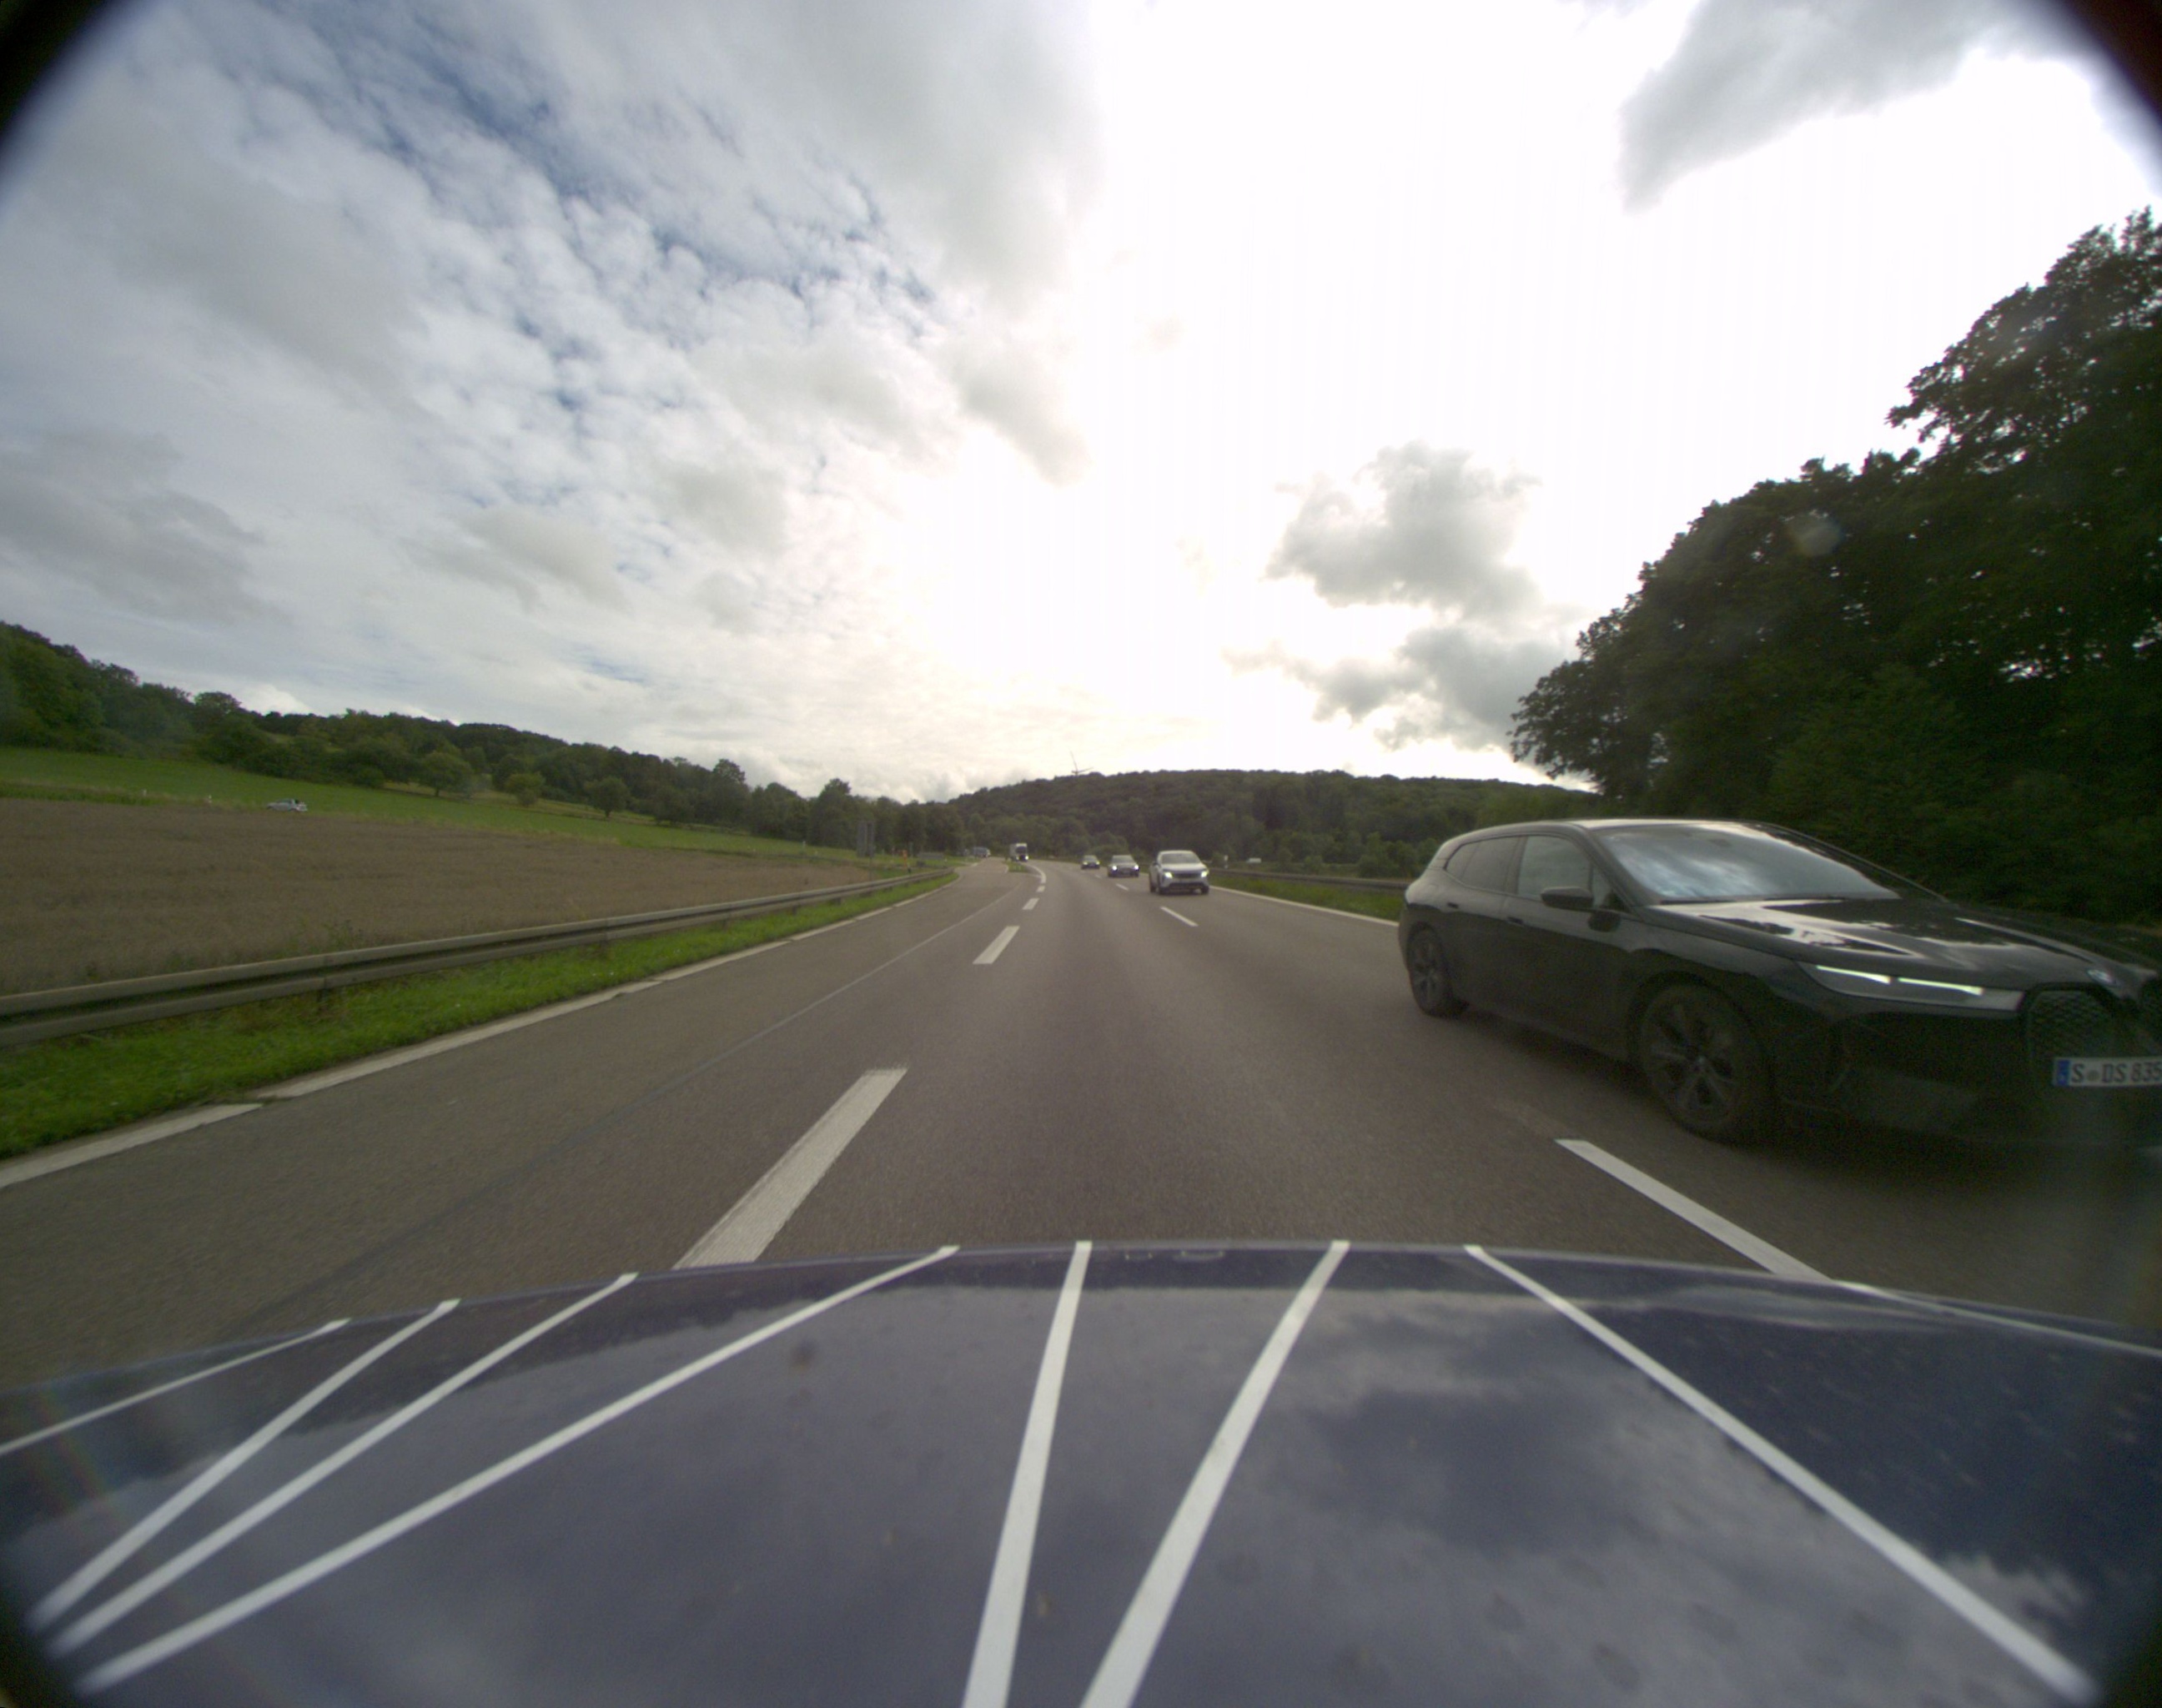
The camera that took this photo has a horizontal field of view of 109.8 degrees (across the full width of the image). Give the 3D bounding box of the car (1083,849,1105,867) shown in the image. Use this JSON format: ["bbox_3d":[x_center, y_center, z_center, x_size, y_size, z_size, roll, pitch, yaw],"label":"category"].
[{"bbox_3d":[1.306,0.399,80.017,1.999,1.656,4.412,0,2,-3],"label":"car"}]

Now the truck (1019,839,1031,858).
[{"bbox_3d":[-12.579,-1.273,170.299,2.796,3.949,5.936,0,2,-5],"label":"truck"}]

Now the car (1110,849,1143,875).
[{"bbox_3d":[3.073,0.543,52.656,1.999,1.656,4.413,0,1,0],"label":"car"}]

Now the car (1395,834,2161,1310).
[{"bbox_3d":[3.989,0.758,4.901,1.999,1.656,4.414,-1,0,-1],"label":"car"}]

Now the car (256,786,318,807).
[{"bbox_3d":[-83.189,-6.018,79.655,4.004,1.542,1.781,7,-4,-16],"label":"car"}]

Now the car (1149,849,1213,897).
[{"bbox_3d":[3.816,0.689,29.763,1.998,1.656,4.415,-2,0,1],"label":"car"}]
